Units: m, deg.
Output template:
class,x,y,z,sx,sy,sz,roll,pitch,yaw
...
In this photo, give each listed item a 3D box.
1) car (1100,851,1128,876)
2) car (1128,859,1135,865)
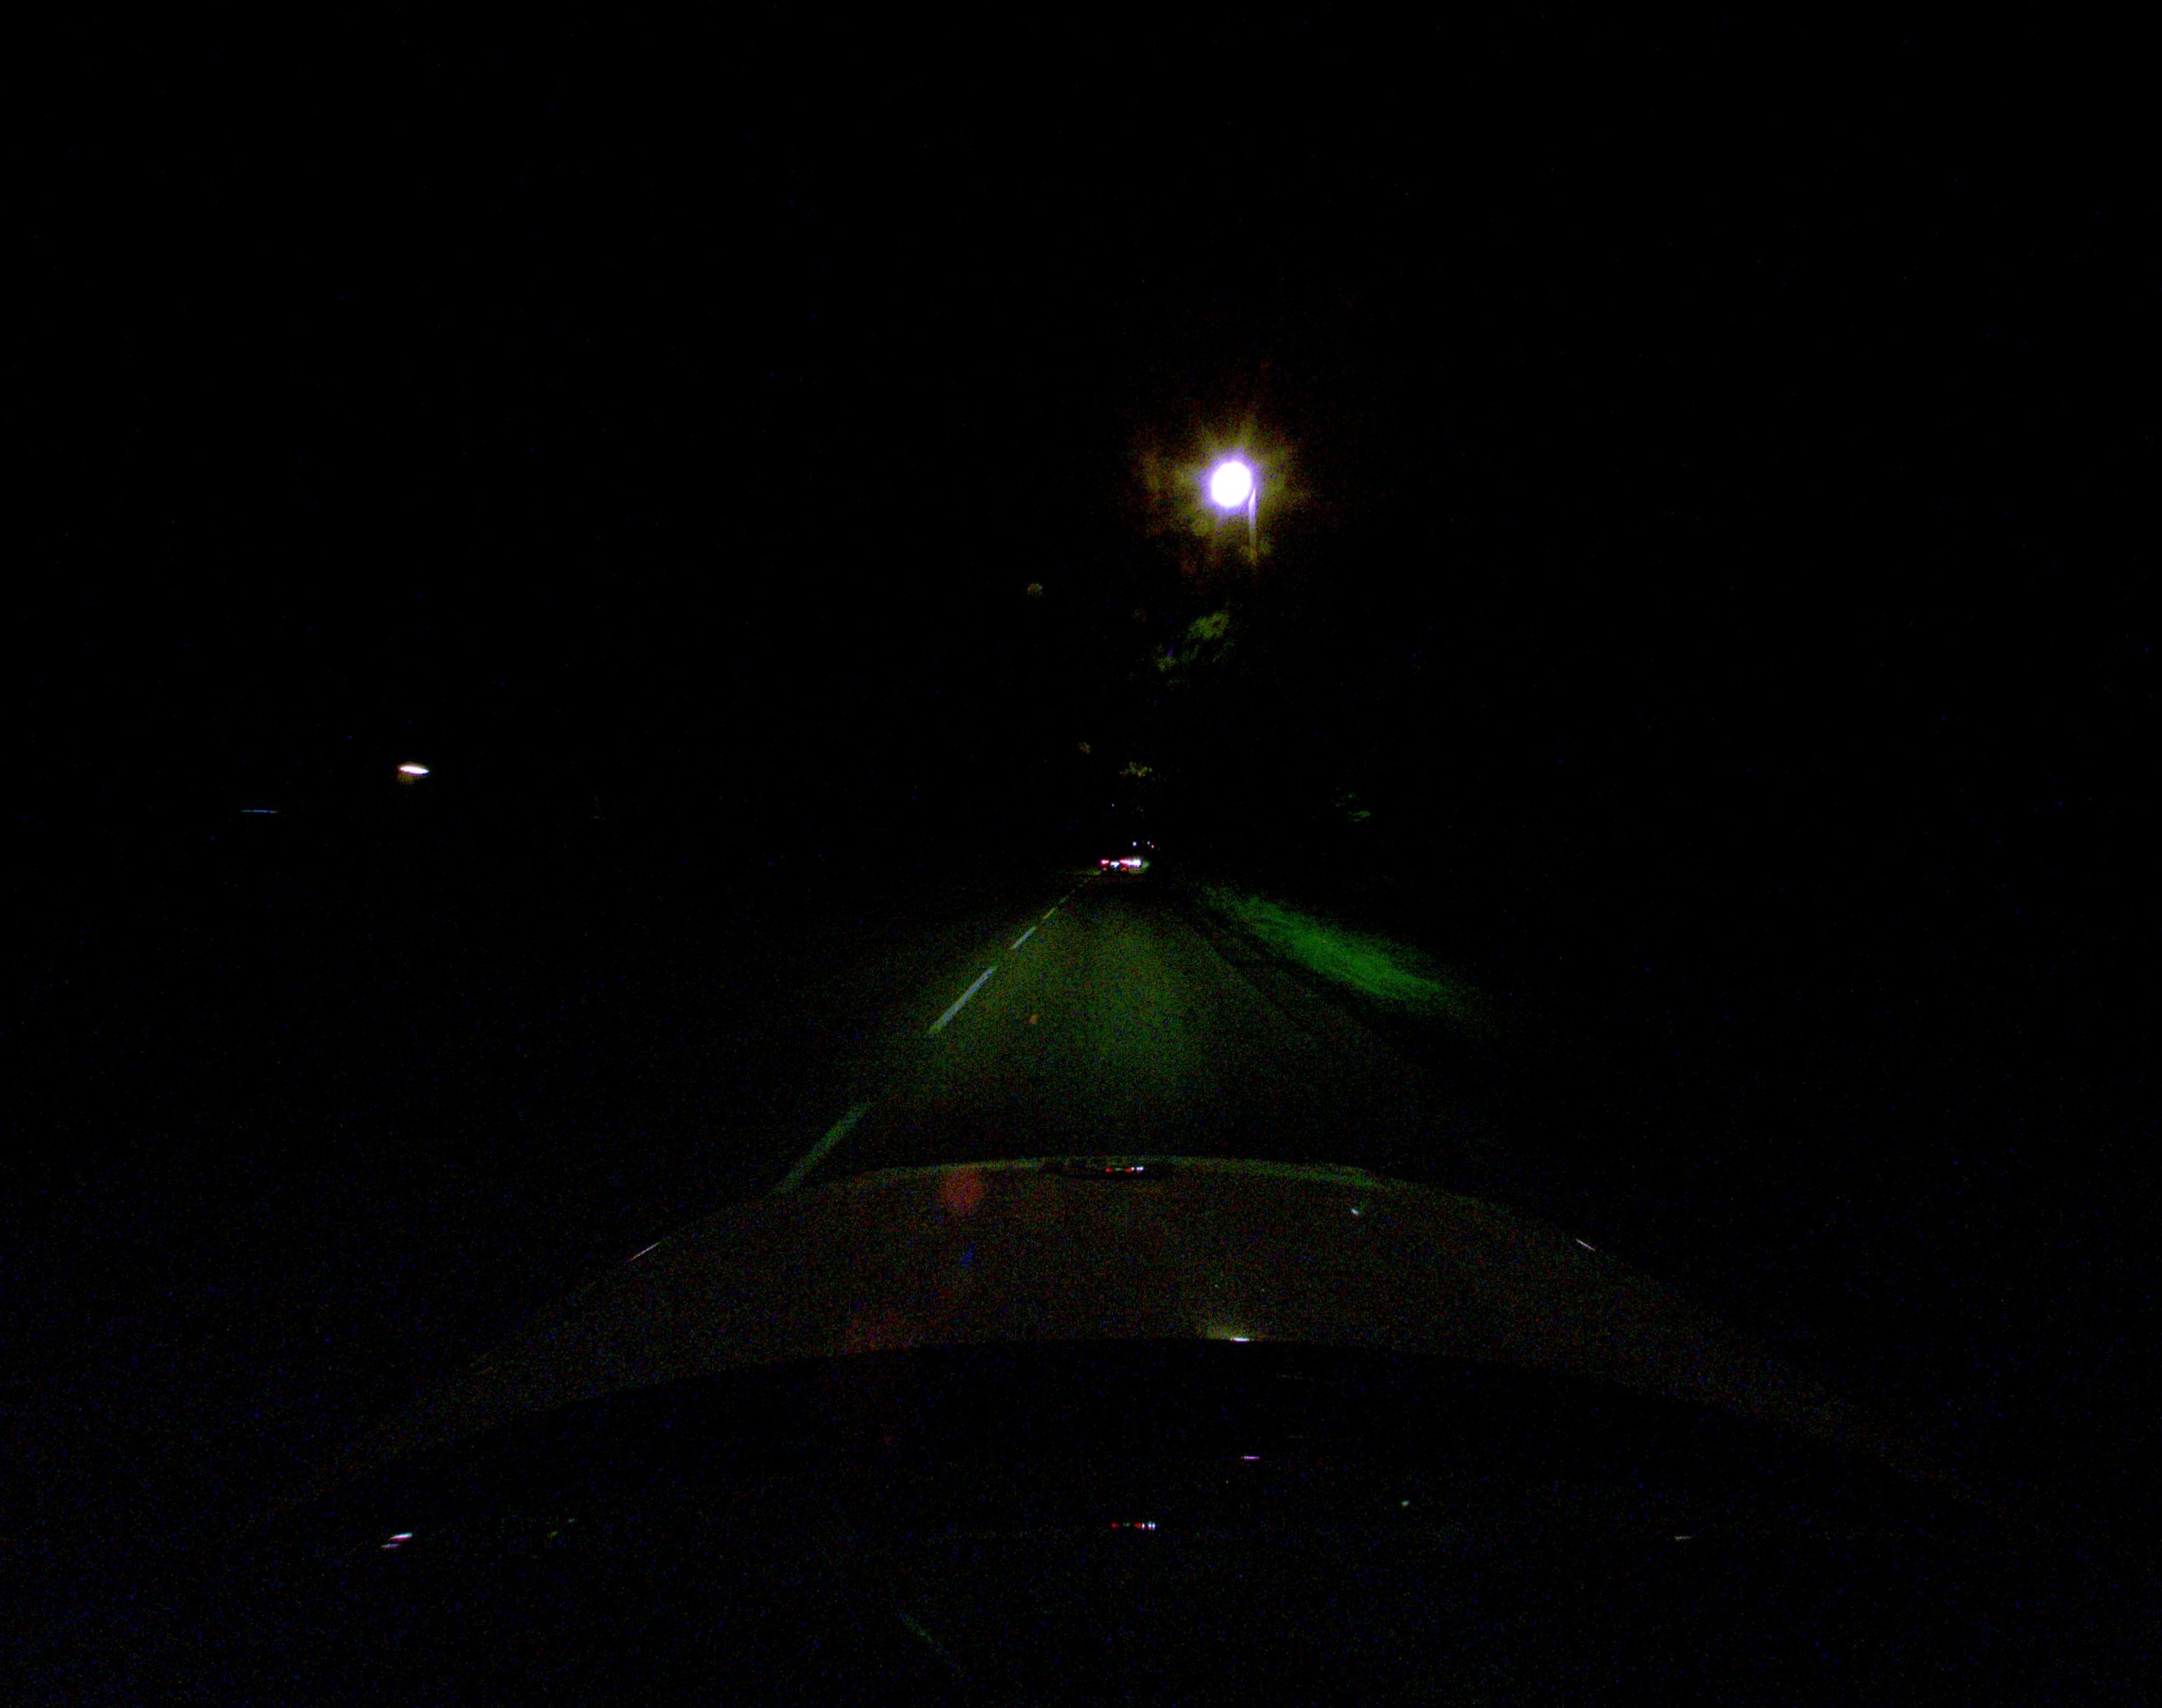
class,x,y,z,sx,sy,sz,roll,pitch,yaw
car,2.189,0.624,54.262,1.756,1.642,3.724,0,0,2
car,11.790,1.905,189.655,1.680,1.457,4.003,0,-1,4
